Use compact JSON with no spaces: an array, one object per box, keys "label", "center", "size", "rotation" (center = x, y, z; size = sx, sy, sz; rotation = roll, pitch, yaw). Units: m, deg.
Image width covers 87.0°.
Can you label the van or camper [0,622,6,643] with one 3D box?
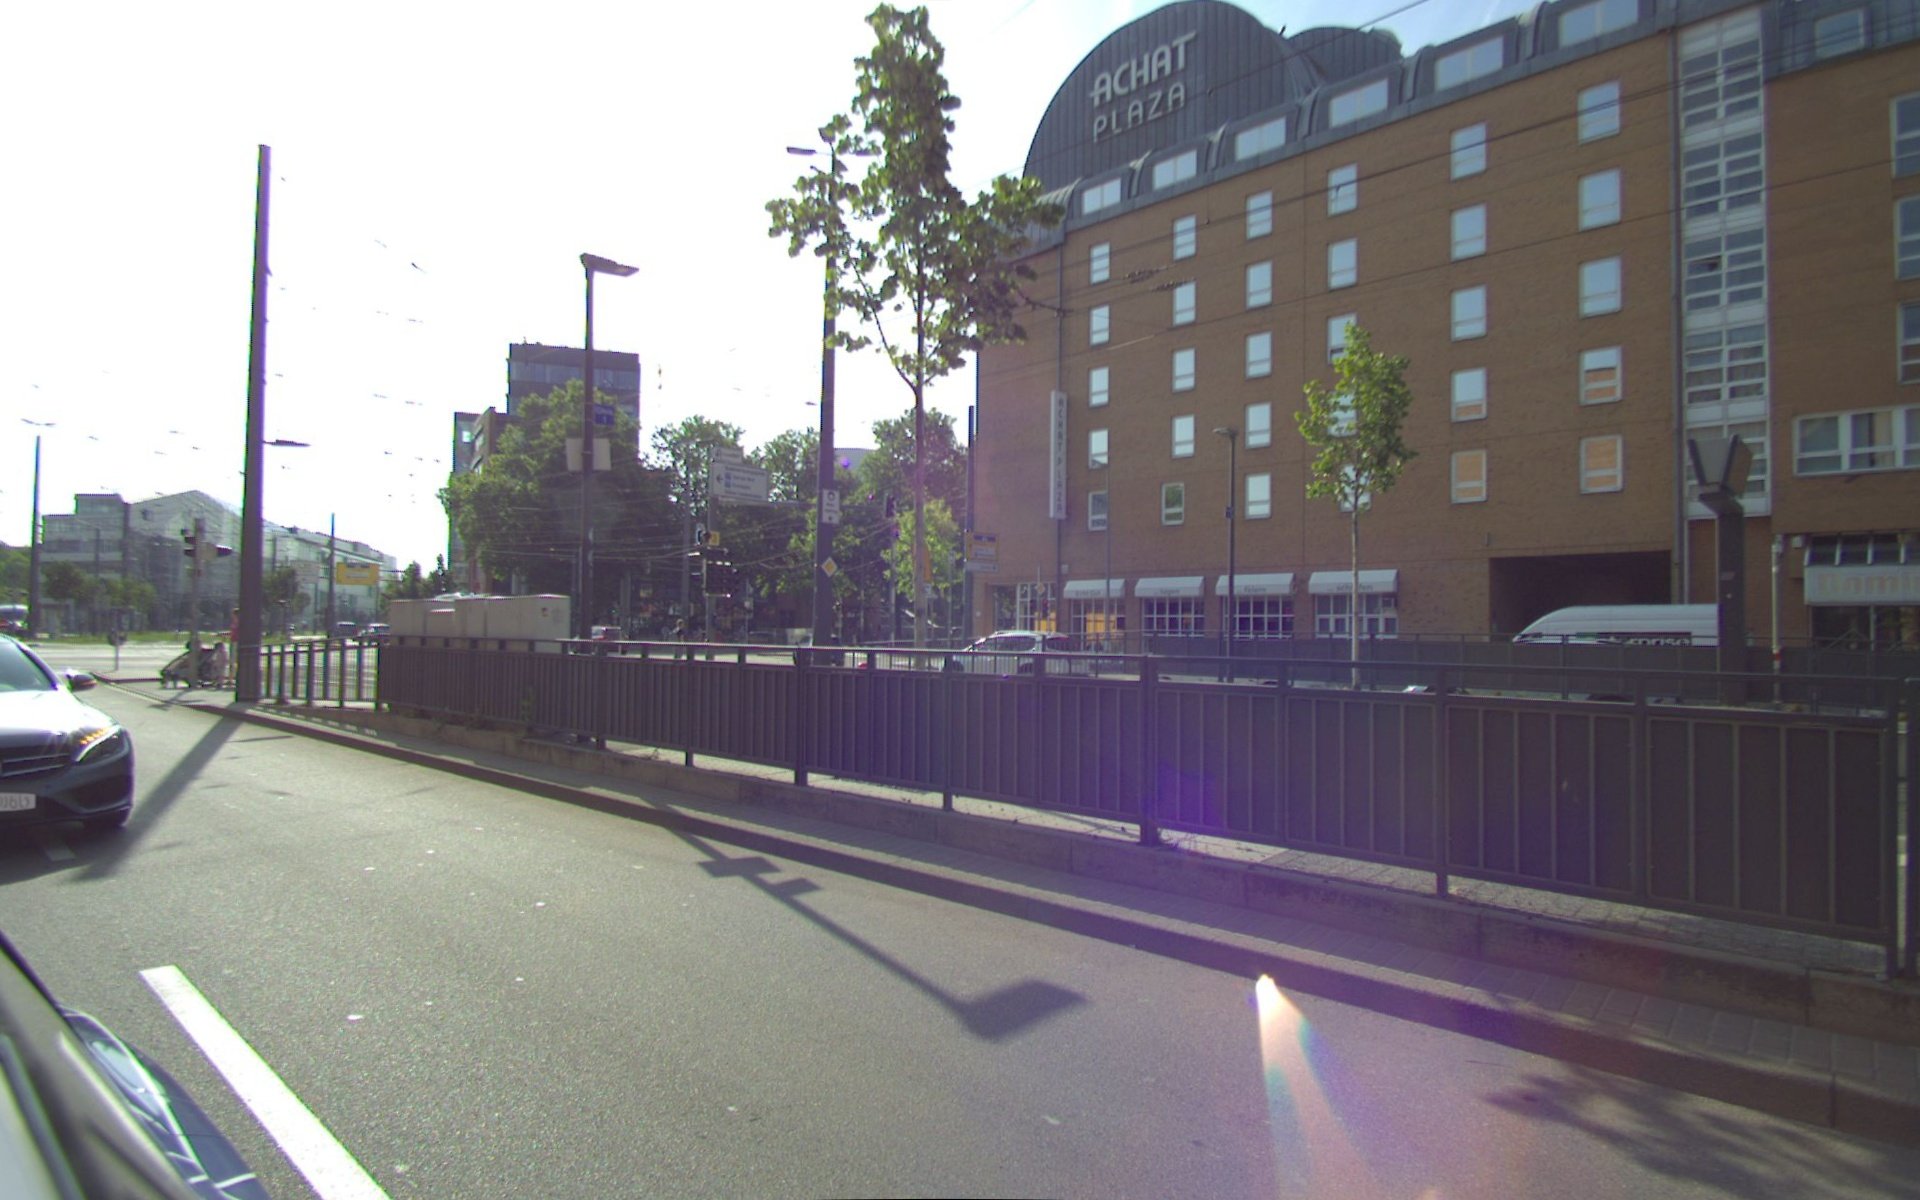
[{"label":"van or camper","center":[-62.426,2.059,64.312],"size":[1.902,1.323,3.997],"rotation":[3,-3,-33]}]

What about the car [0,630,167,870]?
[{"label":"car","center":[-7.548,0.941,7.267],"size":[4.229,1.403,1.884],"rotation":[-1,-2,37]}]

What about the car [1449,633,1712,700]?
[{"label":"car","center":[10.203,1.059,16.781],"size":[3.489,0.978,1.528],"rotation":[-2,-4,44]}]

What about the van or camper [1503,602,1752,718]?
[{"label":"van or camper","center":[17.917,1.556,27.387],"size":[5.354,2.823,1.971],"rotation":[-1,-3,44]}]

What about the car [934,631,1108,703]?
[{"label":"car","center":[1.468,1.613,25.258],"size":[4.025,1.630,1.971],"rotation":[-1,-3,43]}]

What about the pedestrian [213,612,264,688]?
[{"label":"pedestrian","center":[-15.896,1.100,22.313],"size":[0.639,1.646,0.580],"rotation":[1,-3,9]}]

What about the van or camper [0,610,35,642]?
[{"label":"van or camper","center":[-67.903,1.840,72.383],"size":[1.902,2.228,3.997],"rotation":[3,-3,-33]}]

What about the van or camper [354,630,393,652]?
[{"label":"van or camper","center":[-42.874,3.004,73.976],"size":[1.817,1.564,4.007],"rotation":[3,-3,-39]}]

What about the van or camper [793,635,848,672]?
[{"label":"van or camper","center":[-6.176,2.325,44.558],"size":[1.896,1.549,4.011],"rotation":[2,-3,-15]}]

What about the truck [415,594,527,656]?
[{"label":"truck","center":[-33.069,1.707,68.090],"size":[3.123,3.805,12.371],"rotation":[3,-3,-43]}]

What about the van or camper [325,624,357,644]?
[{"label":"van or camper","center":[-56.068,3.103,91.714],"size":[1.898,1.714,4.007],"rotation":[3,-3,-39]}]
